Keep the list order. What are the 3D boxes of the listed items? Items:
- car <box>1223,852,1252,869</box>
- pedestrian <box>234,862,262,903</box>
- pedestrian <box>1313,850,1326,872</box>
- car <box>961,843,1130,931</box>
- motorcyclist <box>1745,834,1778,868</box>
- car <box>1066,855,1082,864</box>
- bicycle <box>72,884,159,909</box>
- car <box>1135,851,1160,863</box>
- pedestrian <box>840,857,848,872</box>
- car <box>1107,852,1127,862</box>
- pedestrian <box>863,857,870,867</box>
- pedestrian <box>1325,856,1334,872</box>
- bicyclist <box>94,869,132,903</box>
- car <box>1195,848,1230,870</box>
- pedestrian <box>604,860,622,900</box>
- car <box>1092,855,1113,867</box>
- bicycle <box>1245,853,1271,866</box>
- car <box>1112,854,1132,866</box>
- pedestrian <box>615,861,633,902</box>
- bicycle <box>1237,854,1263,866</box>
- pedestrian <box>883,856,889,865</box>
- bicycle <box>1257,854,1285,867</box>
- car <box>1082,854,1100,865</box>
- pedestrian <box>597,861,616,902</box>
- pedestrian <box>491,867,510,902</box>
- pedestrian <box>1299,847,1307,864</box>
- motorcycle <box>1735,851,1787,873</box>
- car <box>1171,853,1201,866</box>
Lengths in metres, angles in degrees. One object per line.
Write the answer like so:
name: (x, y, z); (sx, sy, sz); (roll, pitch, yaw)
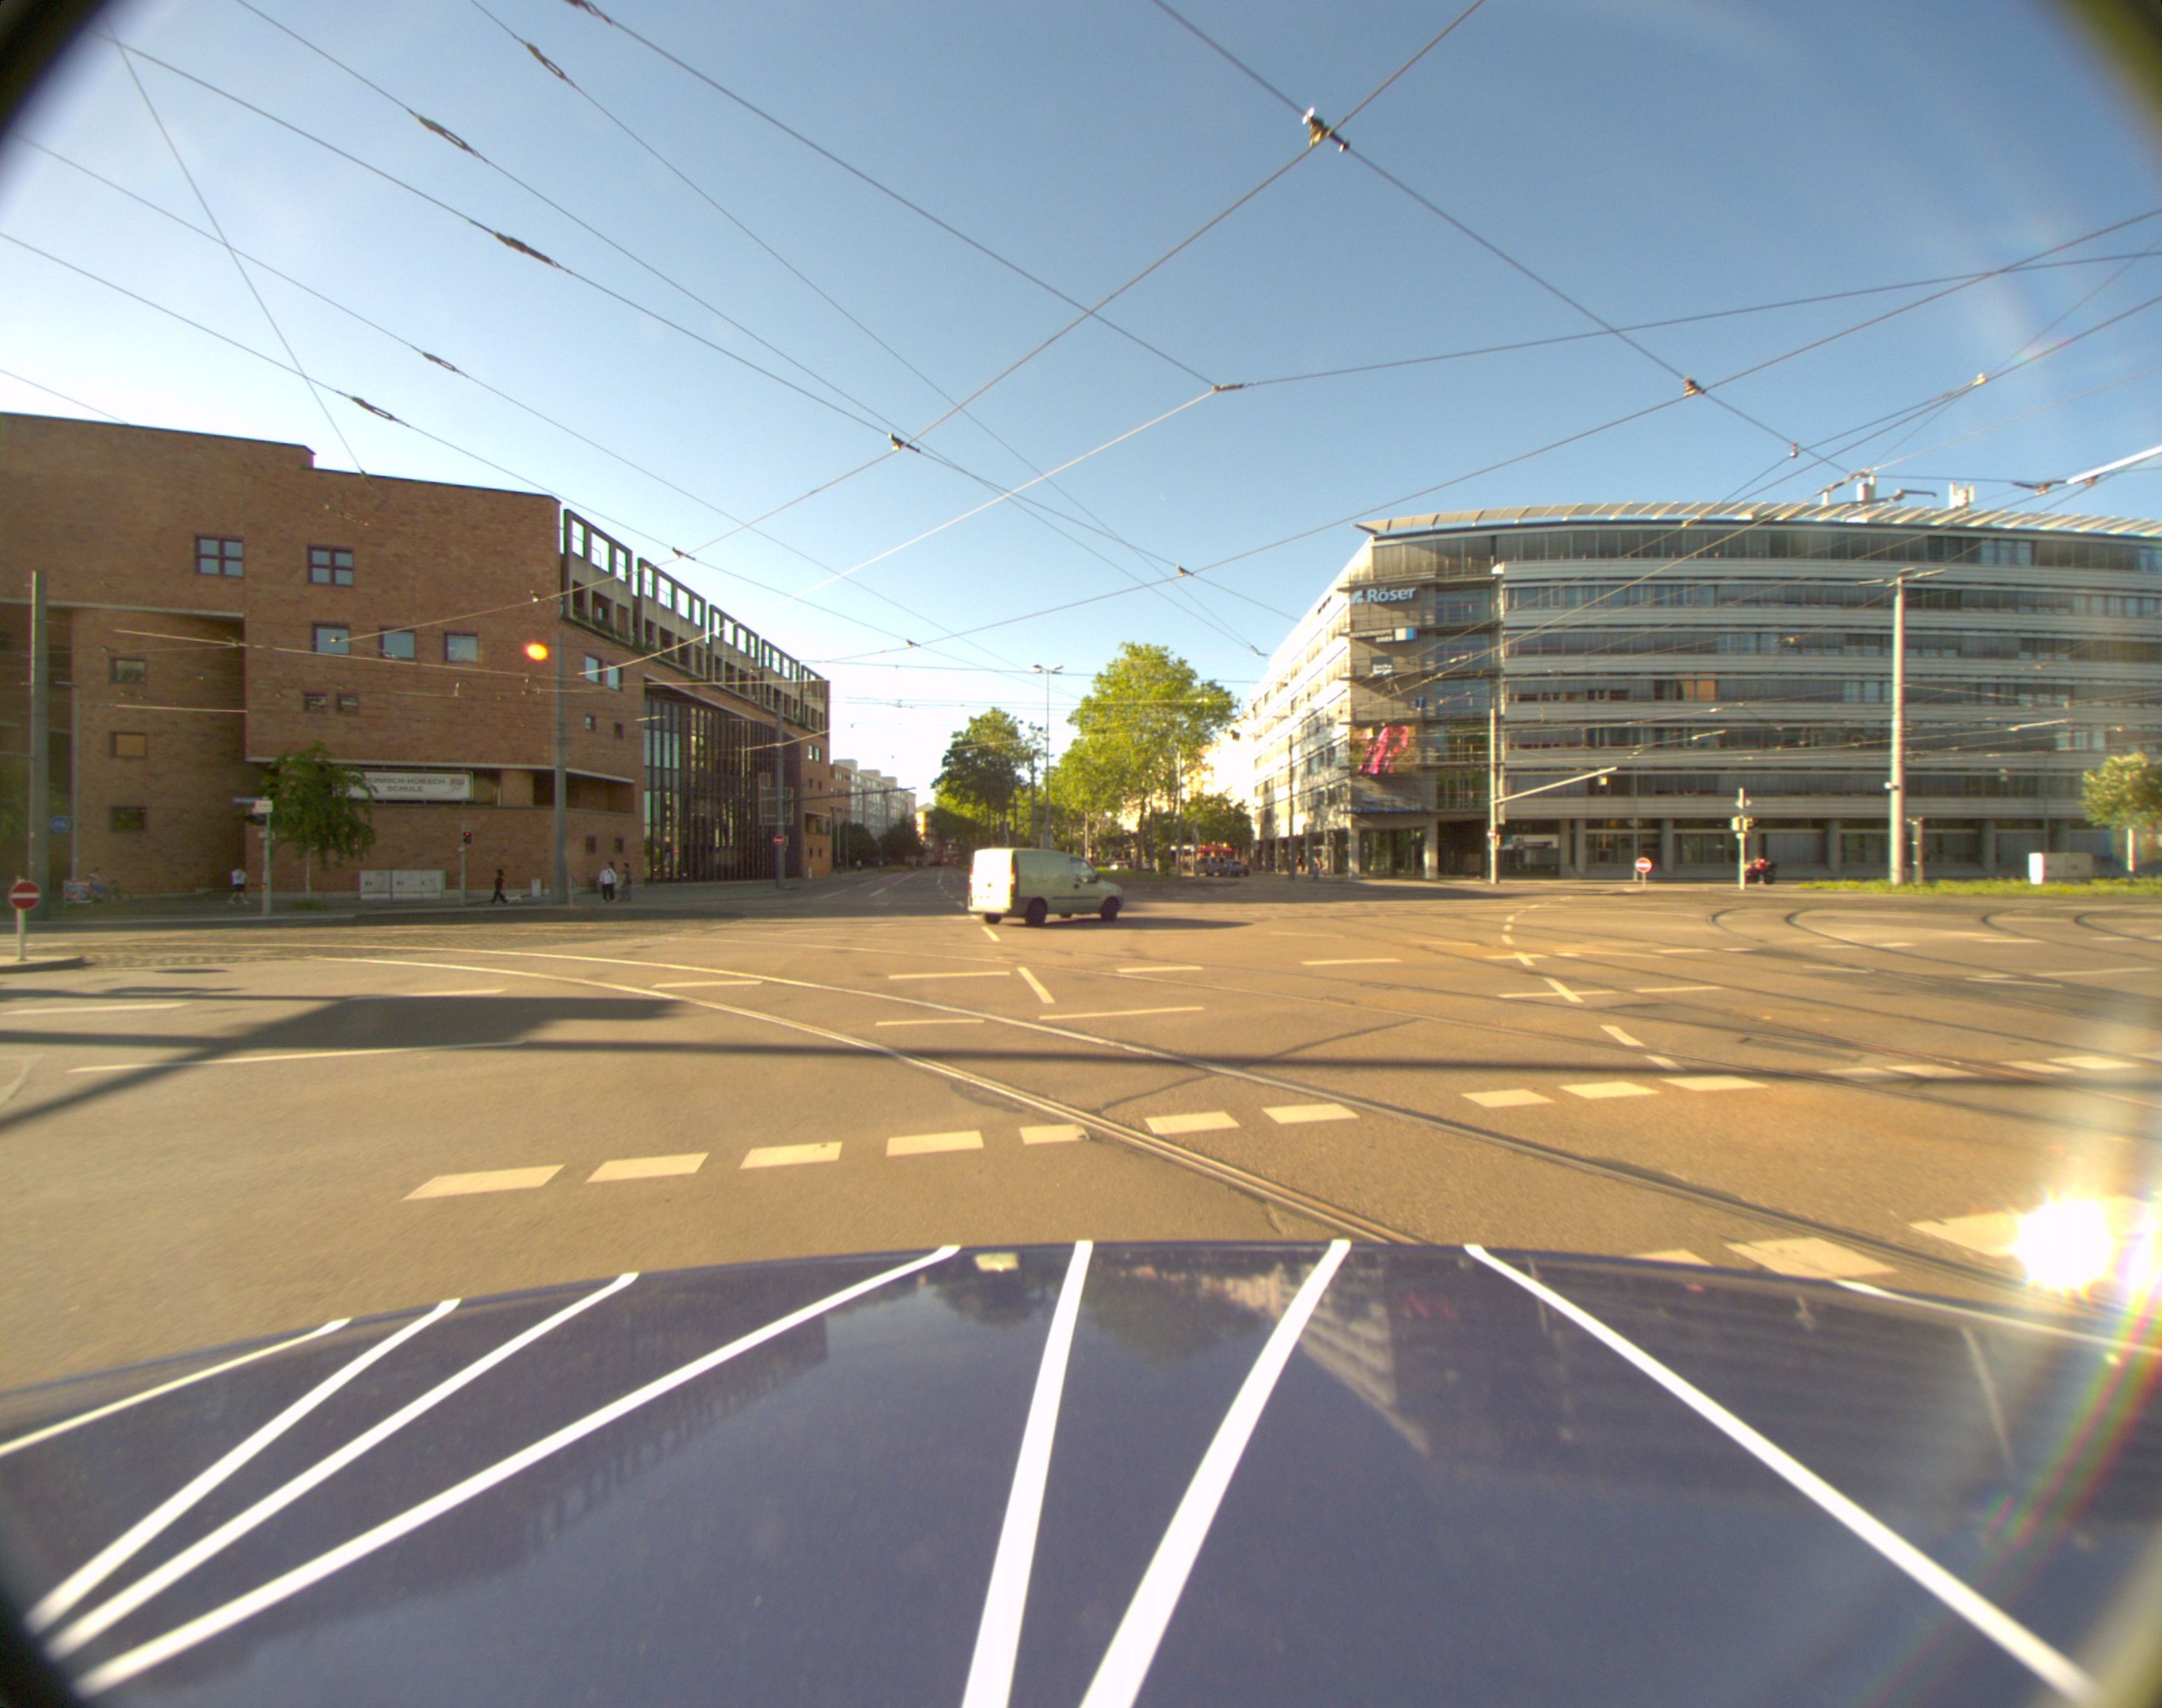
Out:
car: (14.128, 0.575, 68.708); (1.866, 1.466, 3.977); (-1, 0, 1)
pedestrian: (-36.085, 1.231, 32.911); (0.573, 1.776, 0.548); (2, 0, -9)
pedestrian: (17.635, 0.527, 56.166); (0.661, 1.631, 0.793); (0, 0, -4)
car: (-0.759, 0.681, 18.726); (1.839, 1.826, 4.115); (1, 3, 40)
motorcyclist: (38.139, -0.178, 42.583); (1.112, 1.847, 0.821); (-1, 1, -3)
car: (-1.205, 0.883, 125.674); (1.701, 1.466, 3.977); (-1, 0, -14)
bicycle: (-39.538, 1.736, 31.146); (2.346, 0.899, 0.650); (-1, 1, -10)
car: (8.497, 0.388, 97.800); (1.868, 1.466, 3.972); (-1, 0, -16)
pedestrian: (-25.680, 1.112, 82.370); (0.813, 1.596, 0.686); (-1, 1, -23)
car: (5.391, 0.508, 114.625); (1.868, 1.466, 3.972); (-1, 0, -16)
pedestrian: (-28.470, 1.054, 100.802); (0.812, 1.376, 0.687); (-1, 1, -9)
pedestrian: (18.247, 0.739, 55.768); (0.443, 1.203, 0.462); (0, 0, -4)
bicyclist: (-39.637, 1.293, 31.127); (0.653, 1.331, 0.647); (-1, 1, -10)
car: (12.785, 0.472, 73.973); (1.868, 2.004, 4.453); (-1, 0, -11)
pedestrian: (-21.294, 1.187, 34.592); (0.549, 1.776, 0.572); (-1, 2, -19)
car: (2.832, 0.915, 100.034); (1.867, 1.466, 3.973); (-1, 0, -11)
bicycle: (16.775, 0.491, 72.031); (2.397, 1.206, 0.774); (0, 0, -18)
car: (4.881, 0.710, 90.207); (1.666, 1.380, 3.534); (1, 0, -8)
pedestrian: (-20.331, 1.210, 33.818); (0.549, 1.776, 0.572); (-1, 2, -19)
bicycle: (16.693, 0.586, 75.104); (2.397, 1.206, 0.774); (0, 0, -18)
pedestrian: (-31.169, 1.076, 121.231); (0.812, 1.376, 0.687); (-1, 1, -9)
bicycle: (17.661, 0.629, 70.652); (2.392, 1.206, 0.775); (0, 0, 2)
car: (1.394, 0.816, 110.666); (1.701, 1.431, 4.015); (-1, 0, -13)
pedestrian: (-20.933, 1.188, 33.535); (0.549, 1.776, 0.572); (-1, 2, -19)
pedestrian: (-25.320, 1.316, 33.141); (0.574, 1.468, 0.548); (0, 1, -29)
pedestrian: (22.728, 0.136, 77.849); (0.586, 1.723, 0.794); (-1, -1, 8)
motorcycle: (38.090, 0.448, 42.599); (2.254, 1.214, 0.821); (-1, 1, -3)
car: (12.028, 0.636, 87.196); (1.868, 1.466, 3.972); (-1, 0, -16)
